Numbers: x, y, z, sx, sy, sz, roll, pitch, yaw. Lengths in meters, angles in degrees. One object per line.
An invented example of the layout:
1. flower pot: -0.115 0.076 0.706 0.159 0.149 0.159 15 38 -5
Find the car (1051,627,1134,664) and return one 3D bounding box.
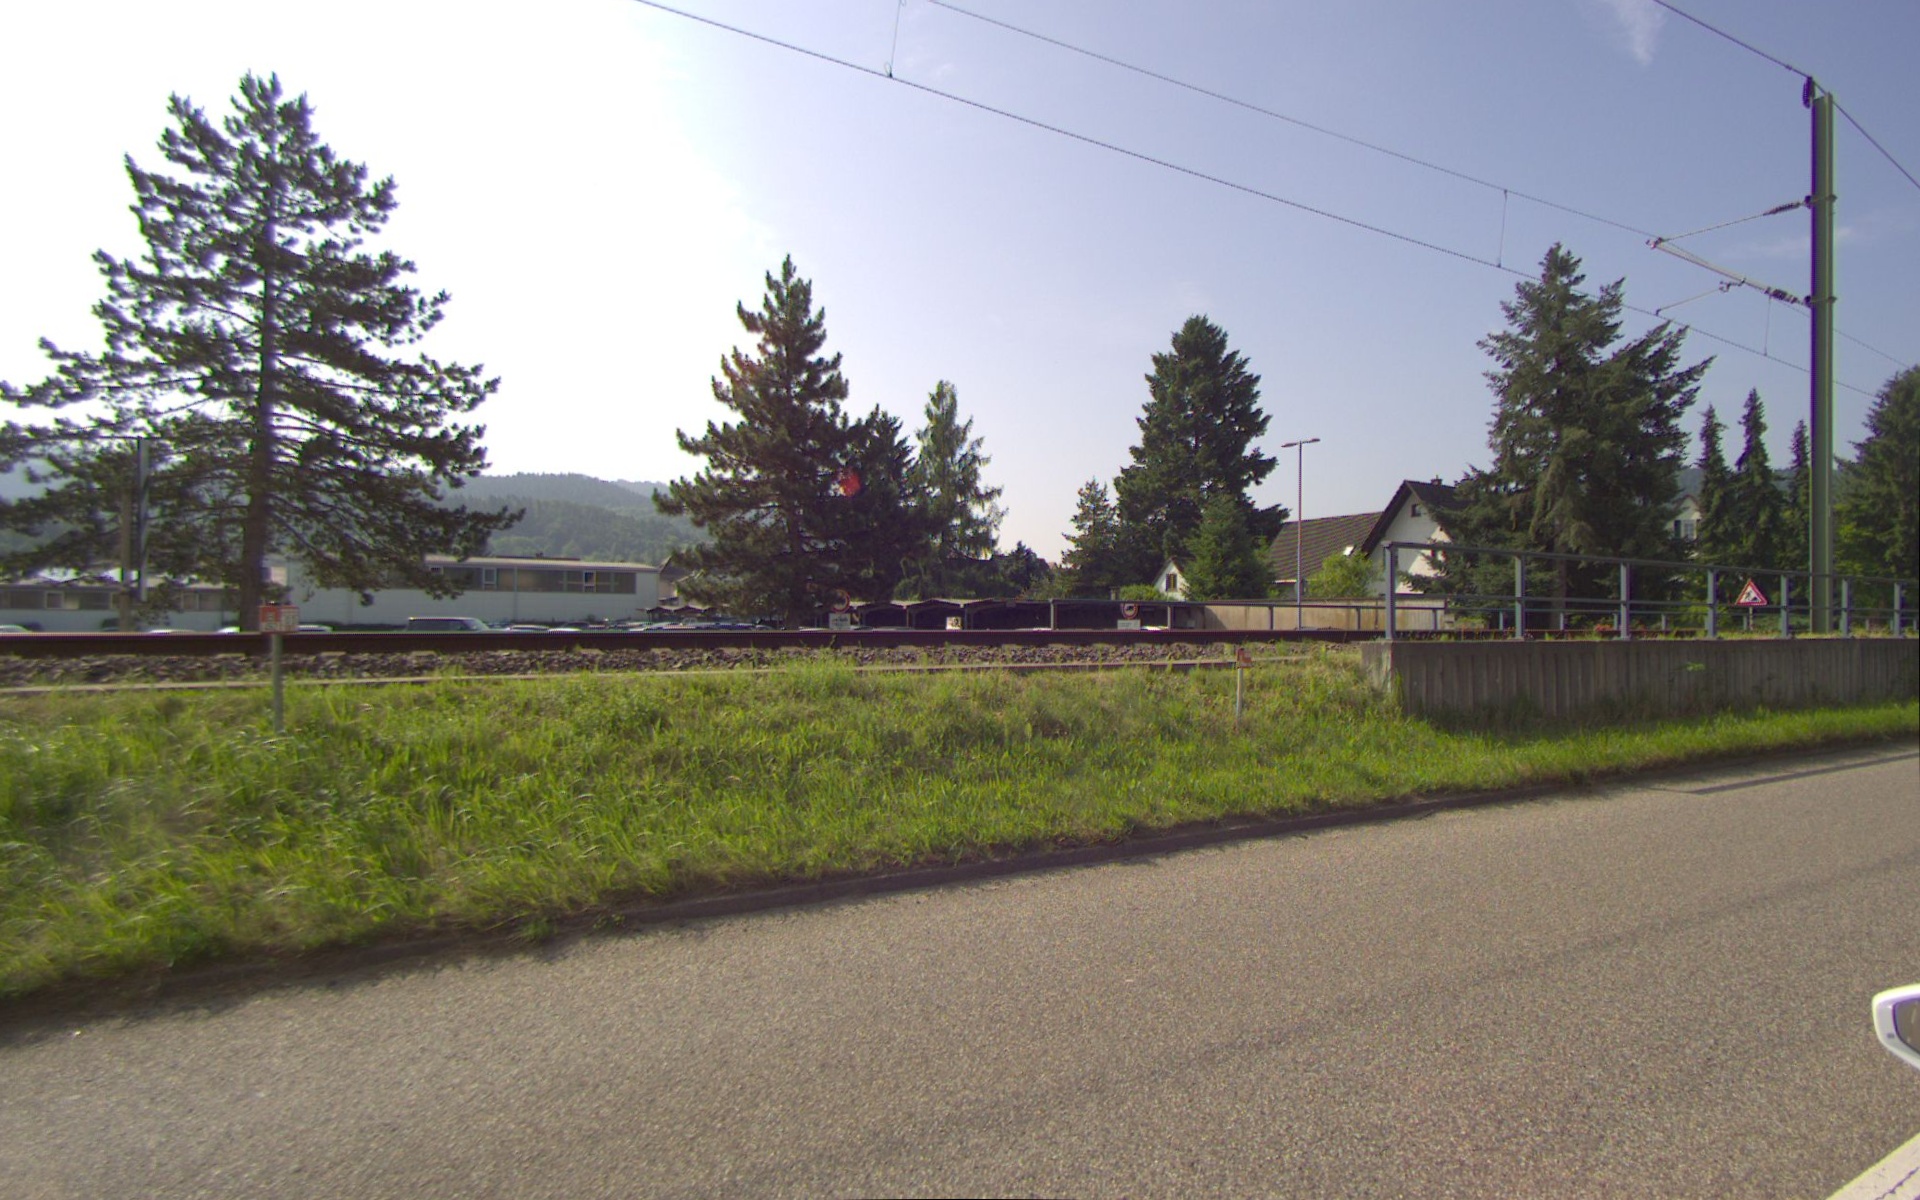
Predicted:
1. car: 6.577 2.251 50.188 1.802 1.688 3.955 1 -1 -39

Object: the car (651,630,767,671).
1. car: -8.362 1.678 33.649 3.465 1.342 1.458 0 -2 6

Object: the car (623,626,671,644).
1. car: -23.455 2.647 75.373 1.429 1.342 3.535 -1 -2 24

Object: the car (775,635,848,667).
1. car: -6.536 2.220 44.074 1.447 1.342 3.491 2 -2 -44

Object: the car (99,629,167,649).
1. car: -57.285 2.712 69.655 3.403 1.342 1.434 1 -2 -31

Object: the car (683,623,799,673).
1. car: -7.795 1.701 35.964 3.729 1.710 1.647 0 -1 5

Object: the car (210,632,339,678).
1. car: -20.899 1.651 30.808 1.428 1.342 3.538 0 -2 2

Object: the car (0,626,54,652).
1. car: -57.554 2.353 61.097 3.466 1.543 1.567 0 -2 2

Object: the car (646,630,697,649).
1. car: -20.921 2.879 72.998 1.432 1.342 3.529 -1 -2 32

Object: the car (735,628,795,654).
1. car: -10.550 2.201 54.209 3.488 1.342 1.449 -2 -2 43

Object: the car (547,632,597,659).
1. car: -19.913 2.329 51.712 1.429 1.342 3.535 0 -2 -5

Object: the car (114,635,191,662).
1. car: -40.780 2.435 50.816 1.431 1.342 3.532 1 -2 -9

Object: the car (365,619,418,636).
1. car: -43.865 2.131 77.477 3.498 1.342 1.445 1 -2 -32

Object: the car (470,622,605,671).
1. car: -13.685 1.500 32.666 3.642 1.518 1.683 0 -2 4

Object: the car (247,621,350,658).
1. car: -24.892 1.474 37.948 1.428 1.342 3.538 0 -2 2

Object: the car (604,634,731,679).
1. car: -9.042 1.738 31.145 3.465 1.342 1.458 0 -2 6

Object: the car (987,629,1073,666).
1. car: 3.201 2.155 46.662 1.802 1.557 3.955 1 -1 -39

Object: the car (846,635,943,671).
1. car: -2.478 2.000 38.145 3.465 1.342 1.458 0 -2 6

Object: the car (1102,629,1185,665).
1. car: 9.343 2.386 51.413 1.802 1.688 3.955 1 -1 -39

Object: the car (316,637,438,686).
1. car: -17.118 1.787 29.687 1.428 1.342 3.538 0 -2 2

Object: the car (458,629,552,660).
1. car: -19.921 1.936 44.041 3.465 1.342 1.458 0 -2 6
